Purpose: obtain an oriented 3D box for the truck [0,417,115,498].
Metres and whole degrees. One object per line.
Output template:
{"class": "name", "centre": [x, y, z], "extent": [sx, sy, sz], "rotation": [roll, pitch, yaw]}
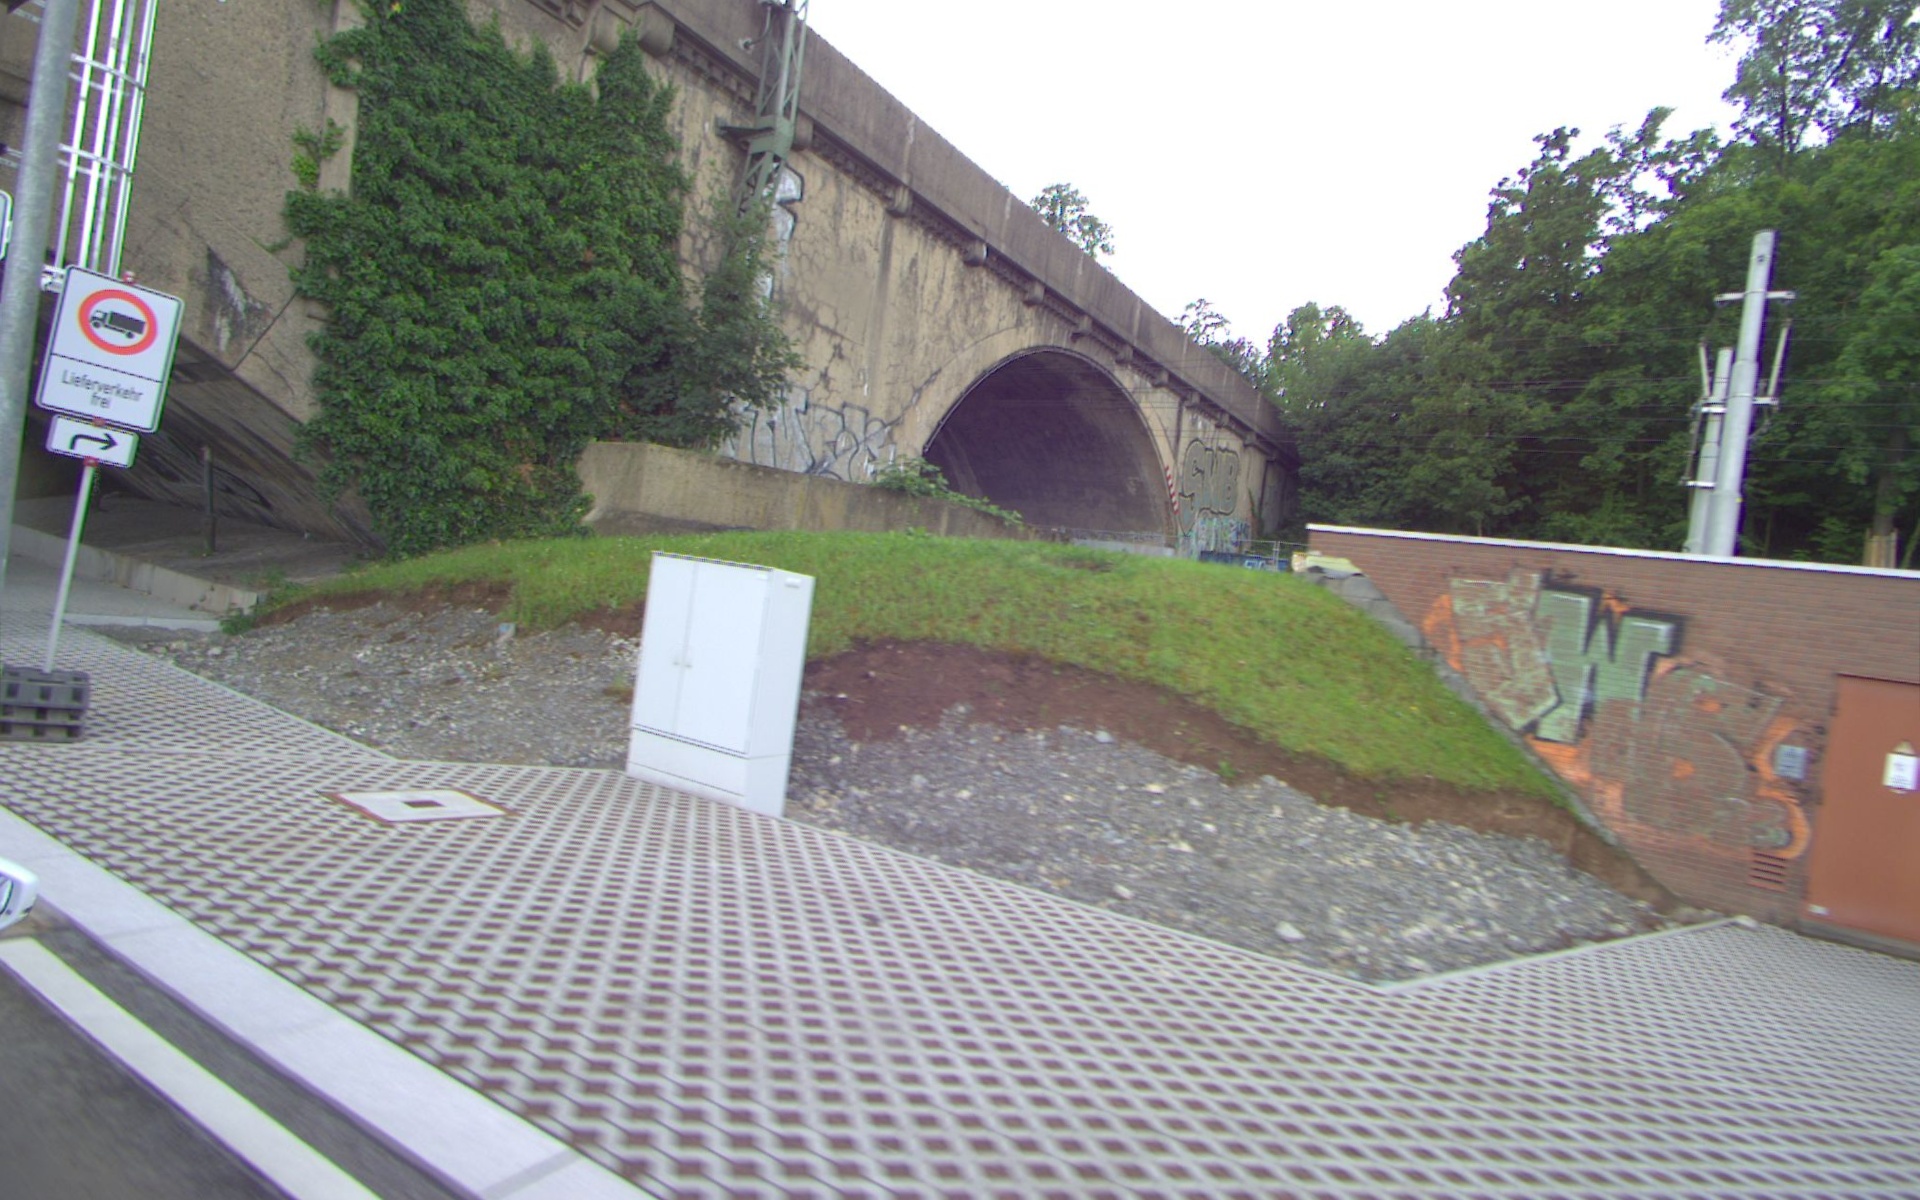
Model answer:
{"class": "truck", "centre": [-59.309, -9.120, 64.919], "extent": [3.293, 3.852, 16.473], "rotation": [10, -1, -28]}
